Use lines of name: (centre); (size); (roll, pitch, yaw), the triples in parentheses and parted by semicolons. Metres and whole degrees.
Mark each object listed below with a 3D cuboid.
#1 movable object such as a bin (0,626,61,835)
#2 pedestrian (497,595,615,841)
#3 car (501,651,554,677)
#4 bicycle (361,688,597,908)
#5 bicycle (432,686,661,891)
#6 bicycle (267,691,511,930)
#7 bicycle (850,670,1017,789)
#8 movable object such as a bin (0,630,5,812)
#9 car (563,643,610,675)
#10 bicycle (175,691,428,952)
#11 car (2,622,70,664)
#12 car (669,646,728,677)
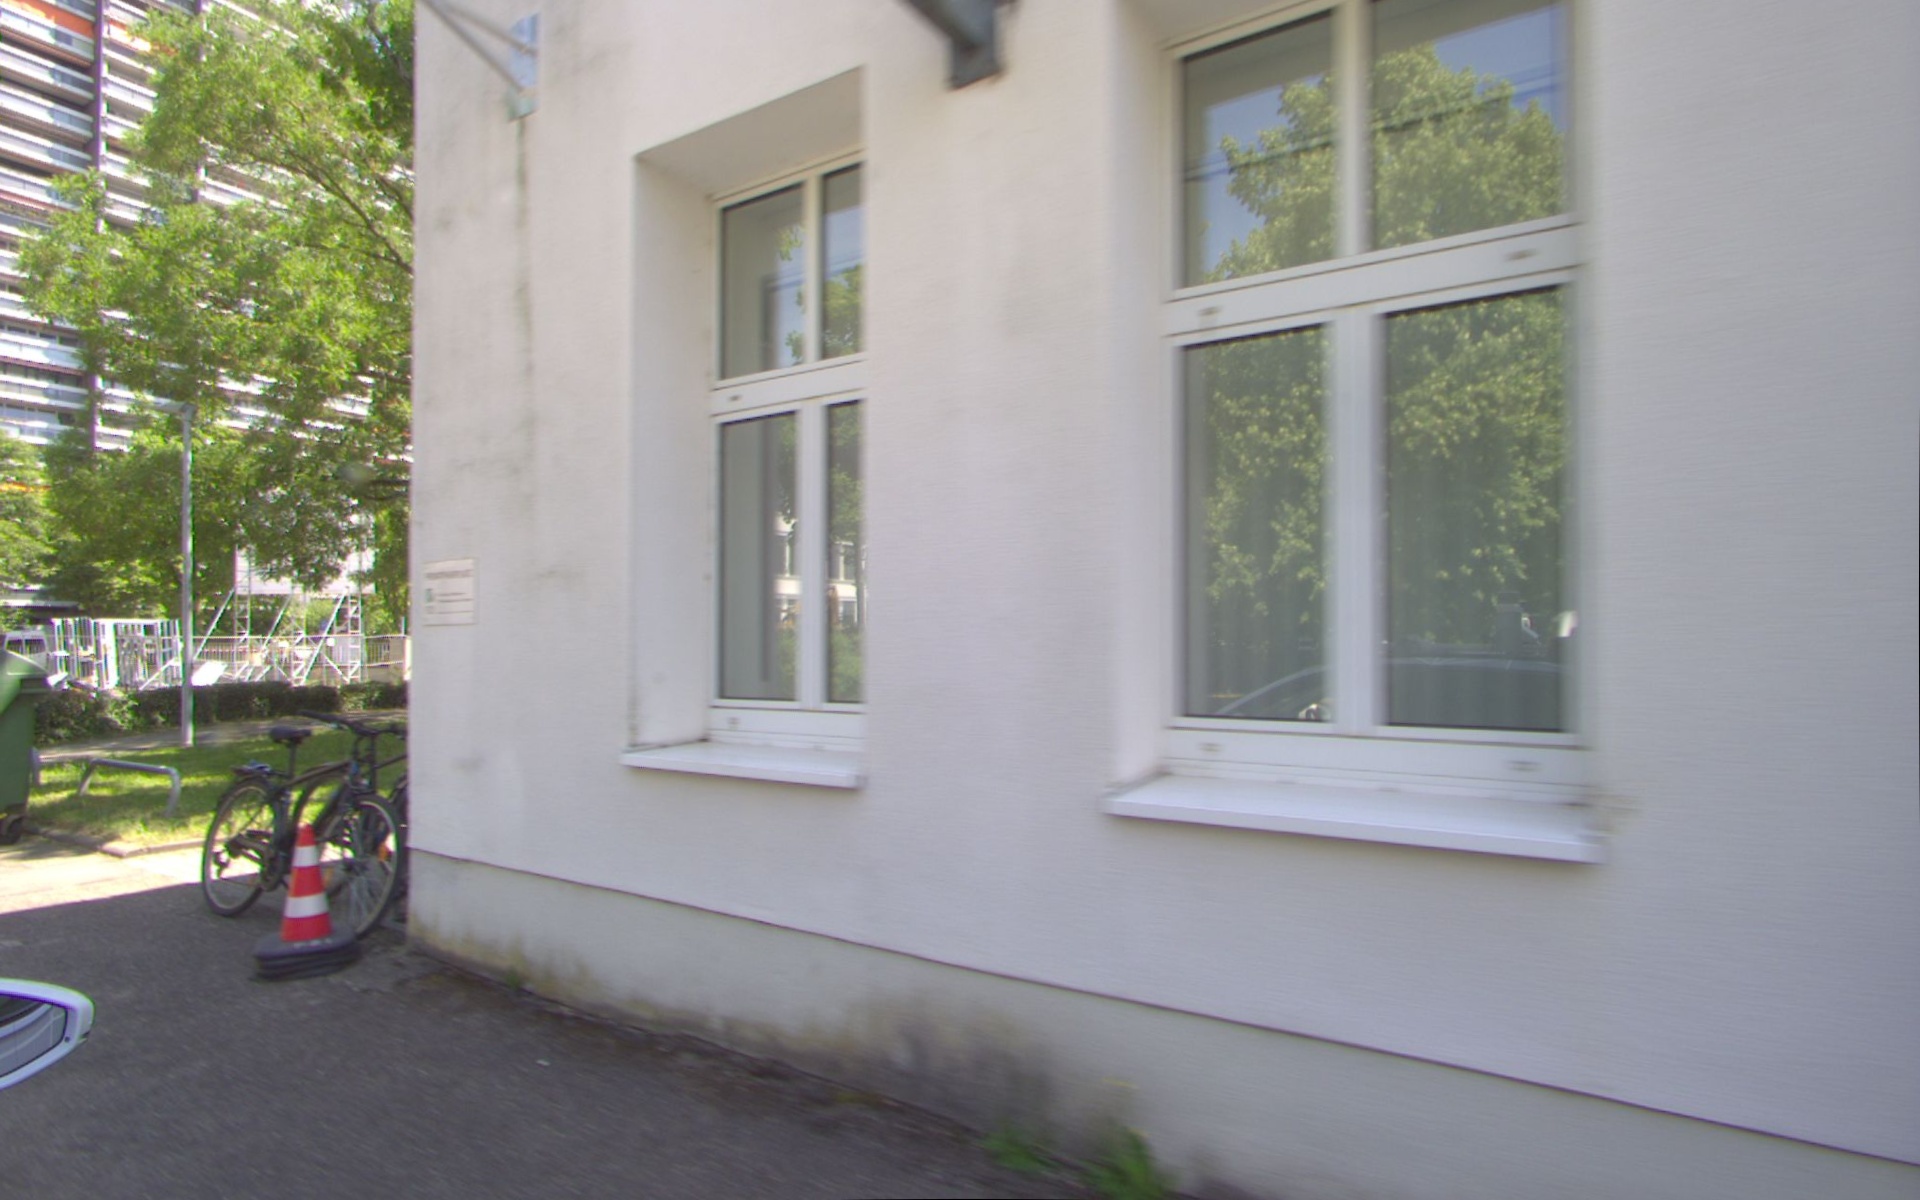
movable object such as a bin: (-7.468, 0.940, 7.289); (1.358, 1.476, 1.073); (-2, -2, 34)
pedestrian: (-3.082, 0.868, 7.642); (0.680, 1.770, 0.549); (-2, -2, 34)
car: (-23.504, 3.439, 54.347); (1.896, 1.327, 3.905); (1, -3, -35)
bicycle: (-2.909, 1.107, 5.982); (1.801, 1.115, 0.404); (-2, -2, 33)
bicycle: (-2.654, 1.121, 6.338); (1.801, 1.115, 0.404); (-2, -2, 33)
bicycle: (-3.213, 1.090, 5.566); (1.801, 1.115, 0.404); (-2, -2, 33)
bicycle: (-0.300, 1.282, 10.250); (1.801, 1.115, 0.404); (-2, -2, 33)
movable object such as a bin: (-8.644, 0.987, 8.090); (1.358, 1.476, 1.073); (-2, -2, 34)
car: (-20.367, 3.192, 54.500); (1.987, 1.650, 3.916); (1, -3, -27)
bicycle: (-3.422, 1.049, 5.144); (1.801, 1.115, 0.404); (-2, -2, 33)
car: (-52.080, 2.452, 56.540); (2.164, 2.286, 4.838); (1, -3, -35)
car: (-14.143, 3.312, 54.107); (1.652, 1.609, 3.661); (1, -3, -41)
